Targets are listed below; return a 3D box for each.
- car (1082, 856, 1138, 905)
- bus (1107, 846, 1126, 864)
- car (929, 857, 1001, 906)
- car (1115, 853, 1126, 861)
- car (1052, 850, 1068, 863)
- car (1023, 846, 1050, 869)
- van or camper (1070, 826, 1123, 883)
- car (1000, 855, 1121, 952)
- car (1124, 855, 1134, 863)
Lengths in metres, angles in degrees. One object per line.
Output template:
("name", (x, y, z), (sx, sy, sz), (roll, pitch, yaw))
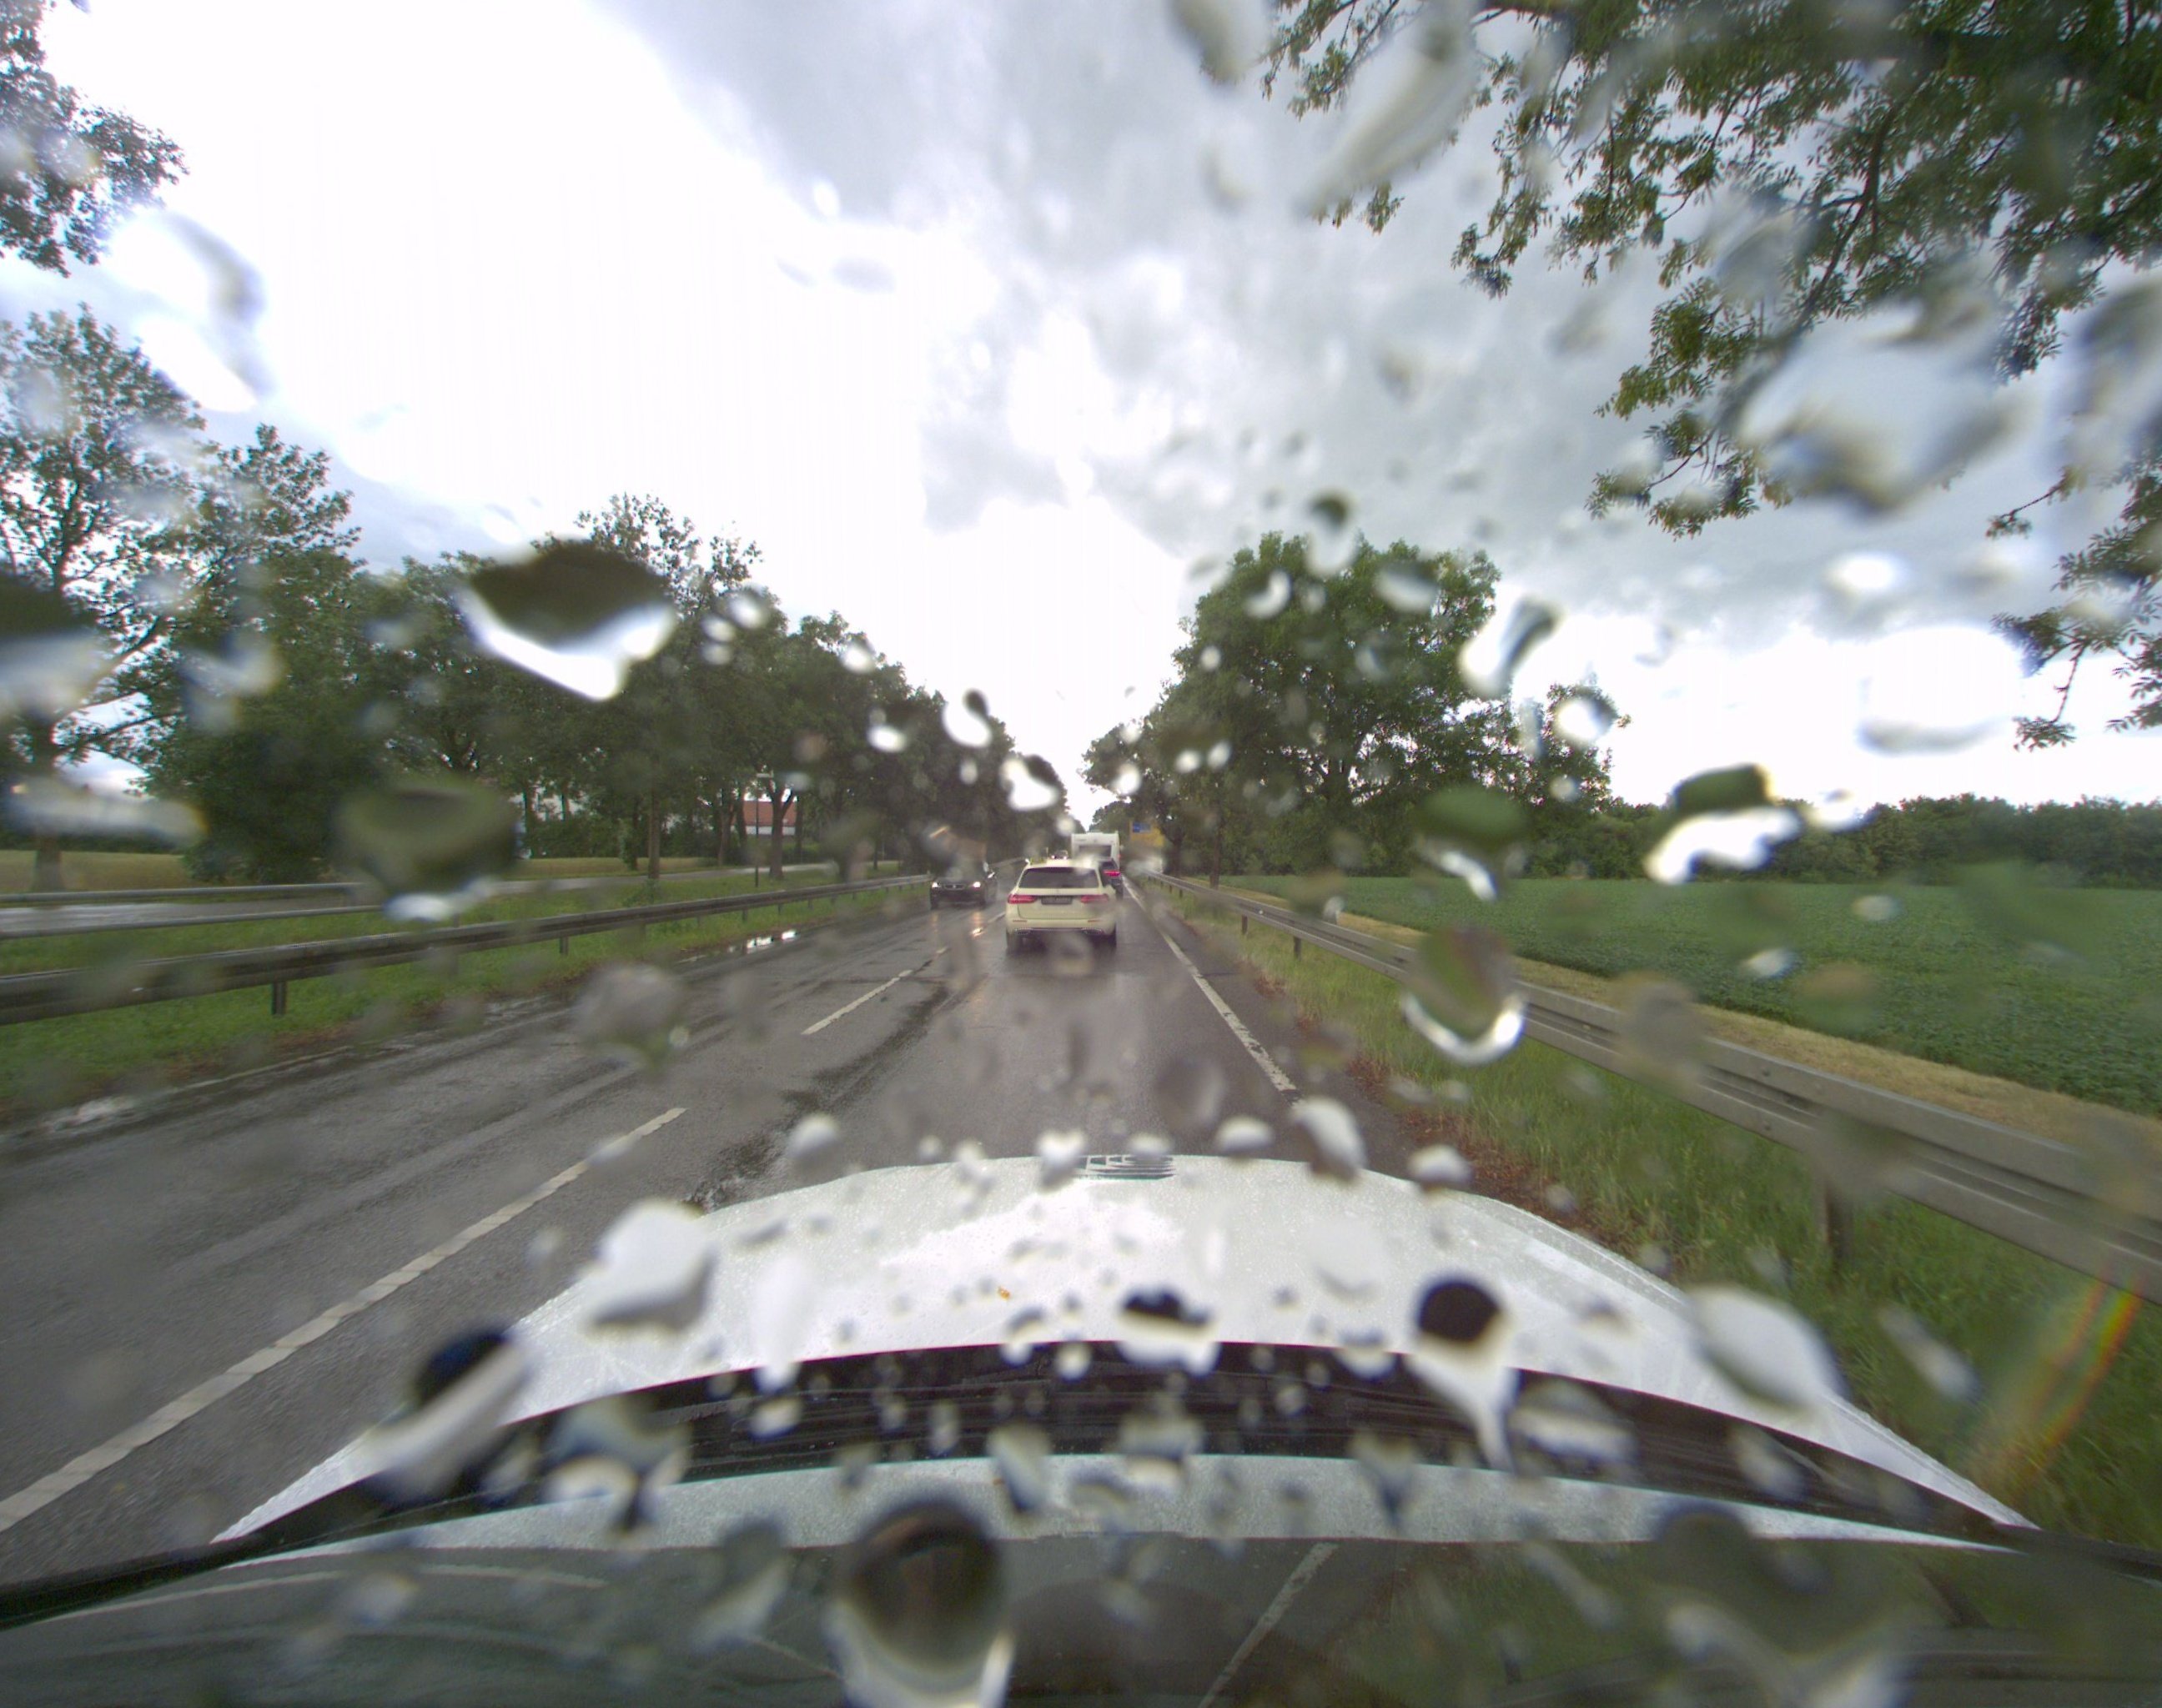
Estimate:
("car", (0.966, 0.782, 26.277), (1.657, 1.430, 4.003), (-1, 0, 3))
("bus", (4.008, 0.132, 93.017), (1.986, 2.013, 4.001), (-1, 0, 1))
("car", (-3.757, 0.846, 27.025), (1.708, 1.451, 4.112), (-1, 0, 1))
("car", (5.627, 0.501, 116.615), (1.546, 1.118, 4.001), (0, -1, 1))
("car", (-2.383, 0.260, 94.122), (1.622, 1.438, 3.961), (0, 0, 1))
("car", (-3.618, 0.279, 66.874), (1.821, 1.803, 4.415), (-1, 0, 1))
("van or camper", (0.841, 0.041, 41.123), (2.479, 2.685, 5.704), (0, 0, 3))
("car", (-0.228, 0.769, 14.577), (1.857, 1.476, 4.003), (-1, 0, 3))
("car", (7.398, 0.800, 126.012), (1.545, 1.118, 4.002), (0, -1, 2))
